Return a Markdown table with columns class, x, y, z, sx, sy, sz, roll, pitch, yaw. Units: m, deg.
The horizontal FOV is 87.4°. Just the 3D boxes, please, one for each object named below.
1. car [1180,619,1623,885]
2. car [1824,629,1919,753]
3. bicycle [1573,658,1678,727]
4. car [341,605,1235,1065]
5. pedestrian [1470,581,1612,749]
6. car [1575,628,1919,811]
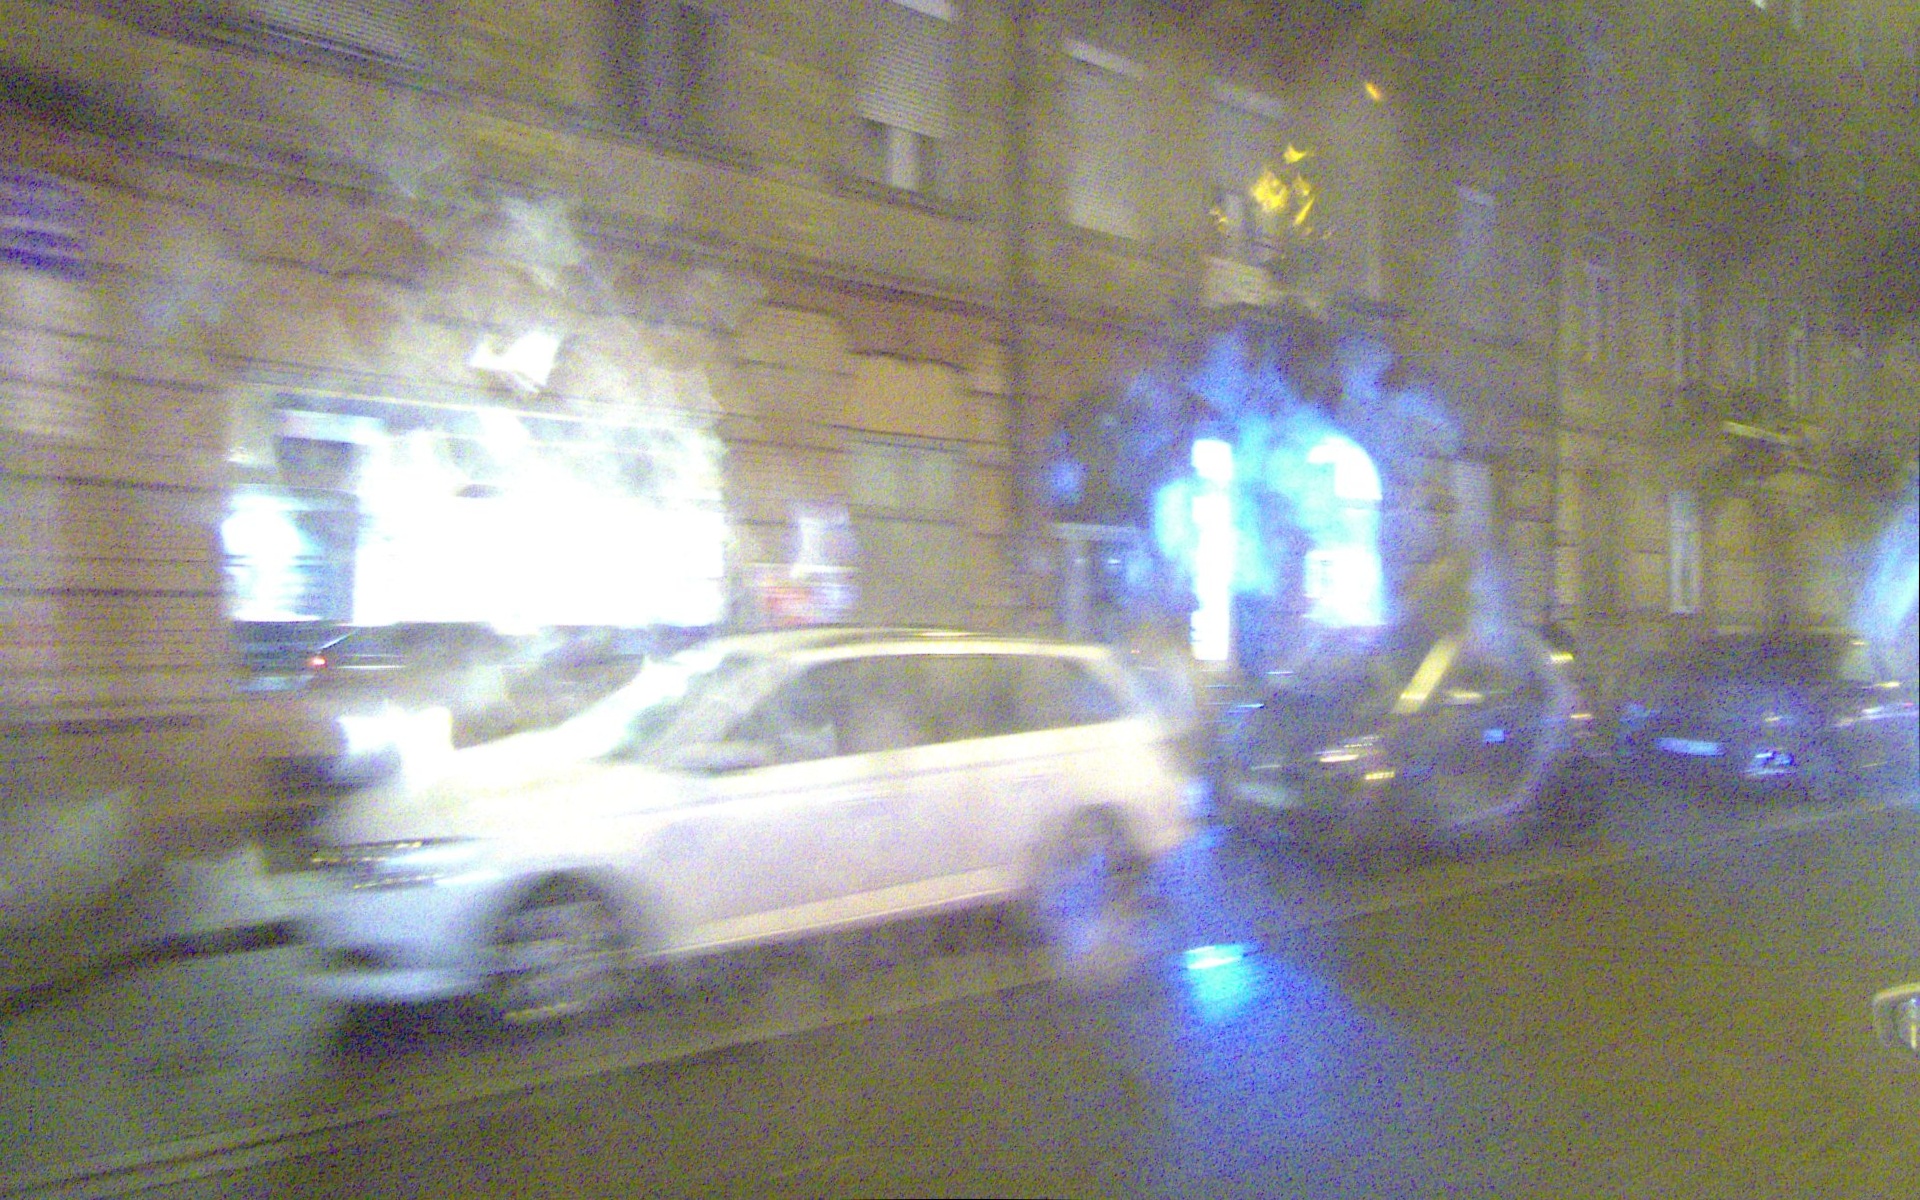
| class | x | y | z | sx | sy | sz | roll | pitch | yaw |
| --- | --- | --- | --- | --- | --- | --- | --- | --- | --- |
| car | 3.168 | 0.923 | 7.228 | 2.753 | 1.530 | 1.580 | 1 | 0 | -29 |
| car | 12.929 | 1.091 | 12.683 | 4.263 | 1.419 | 1.683 | 1 | 0 | -29 |
| bicycle | 9.962 | 1.382 | 15.014 | 1.990 | 0.970 | 0.447 | 3 | -3 | -29 |
| car | -0.691 | 0.824 | 5.020 | 3.974 | 1.483 | 1.579 | 1 | 2 | -29 |
| pedestrian | 6.836 | 0.739 | 11.865 | 0.961 | 1.889 | 1.032 | 2 | 0 | -14 |
| car | 7.782 | 1.021 | 9.761 | 3.459 | 1.468 | 1.580 | 1 | 0 | -29 |
